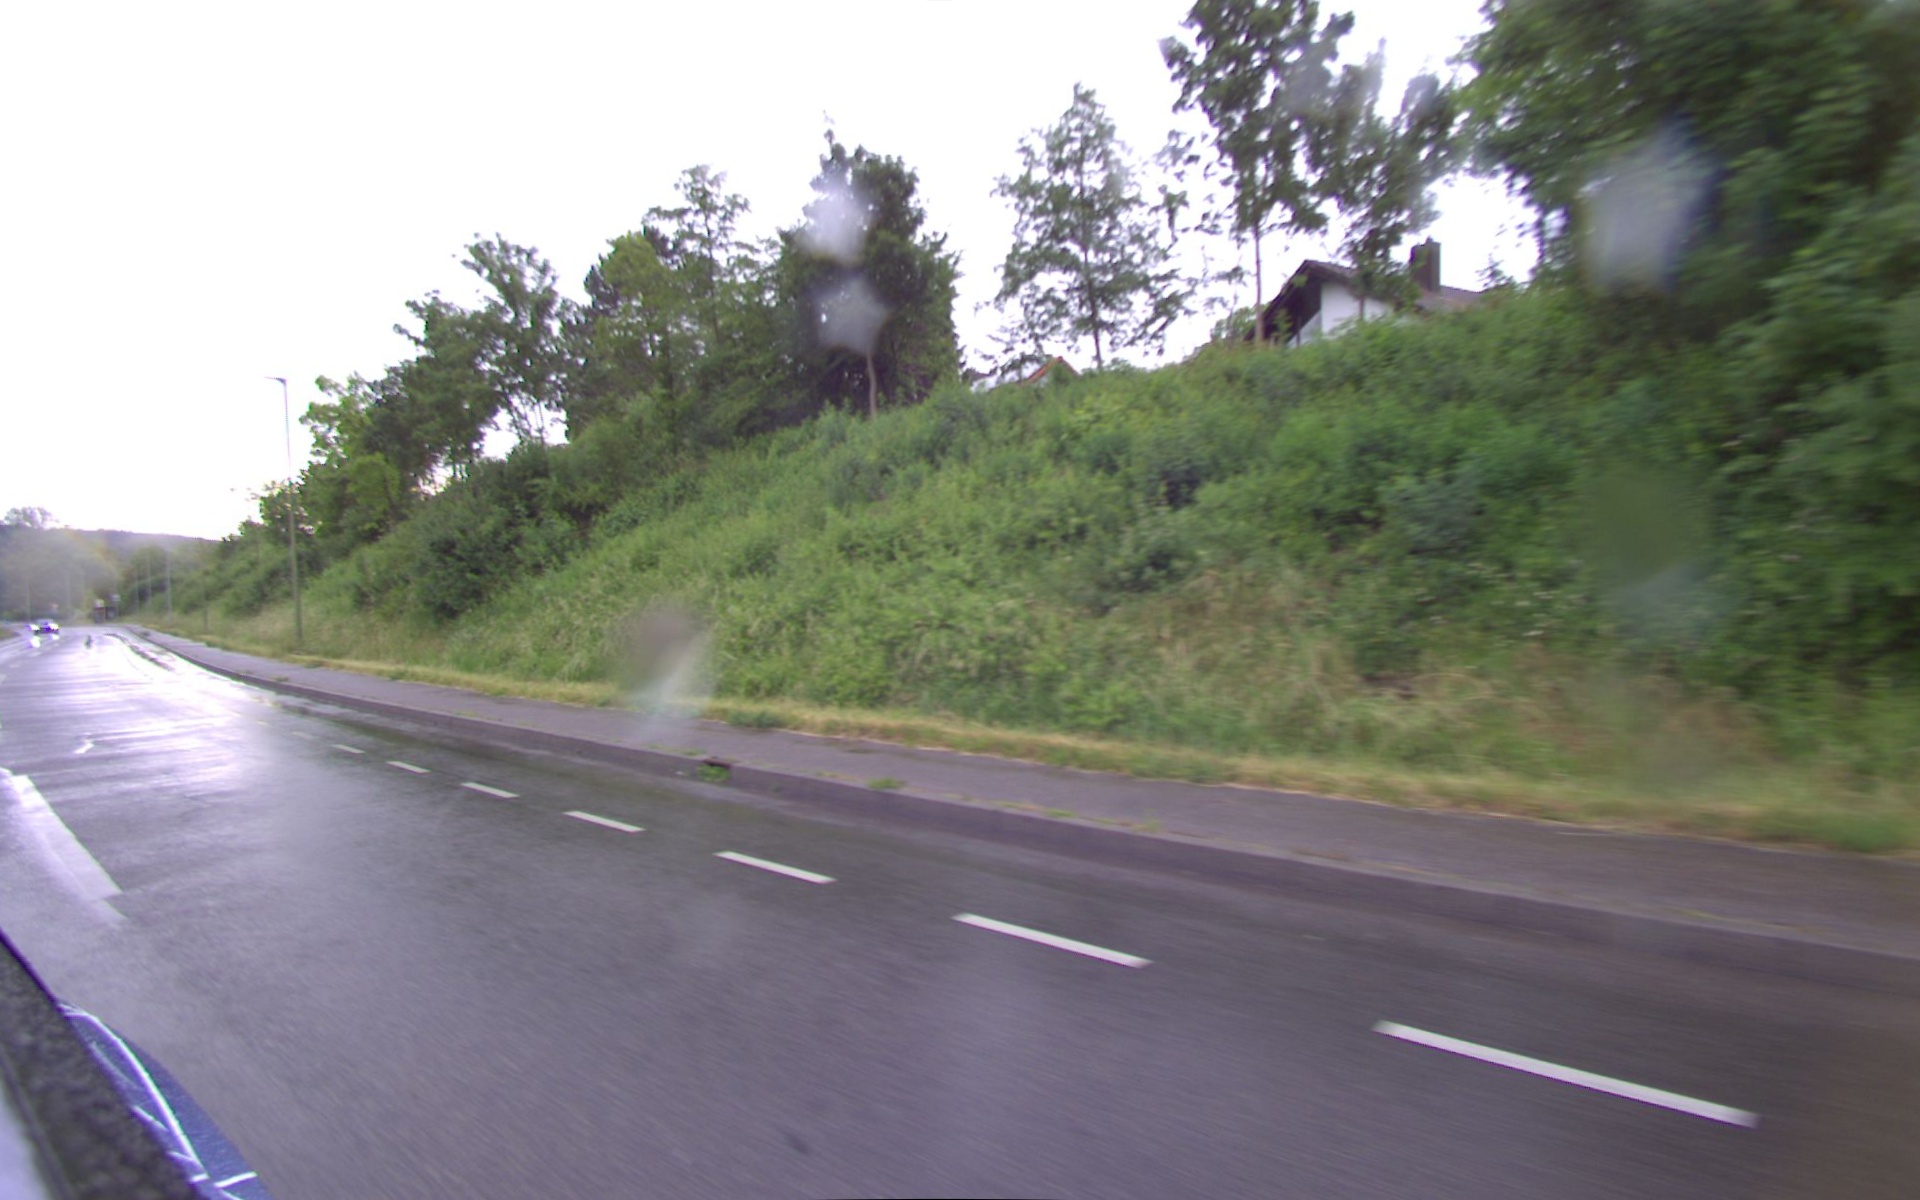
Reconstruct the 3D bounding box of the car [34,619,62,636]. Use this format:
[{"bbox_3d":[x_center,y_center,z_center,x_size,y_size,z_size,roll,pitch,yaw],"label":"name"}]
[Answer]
[{"bbox_3d":[-86.785,2.584,96.242,1.853,1.618,4.003,0,-1,-44],"label":"car"}]
